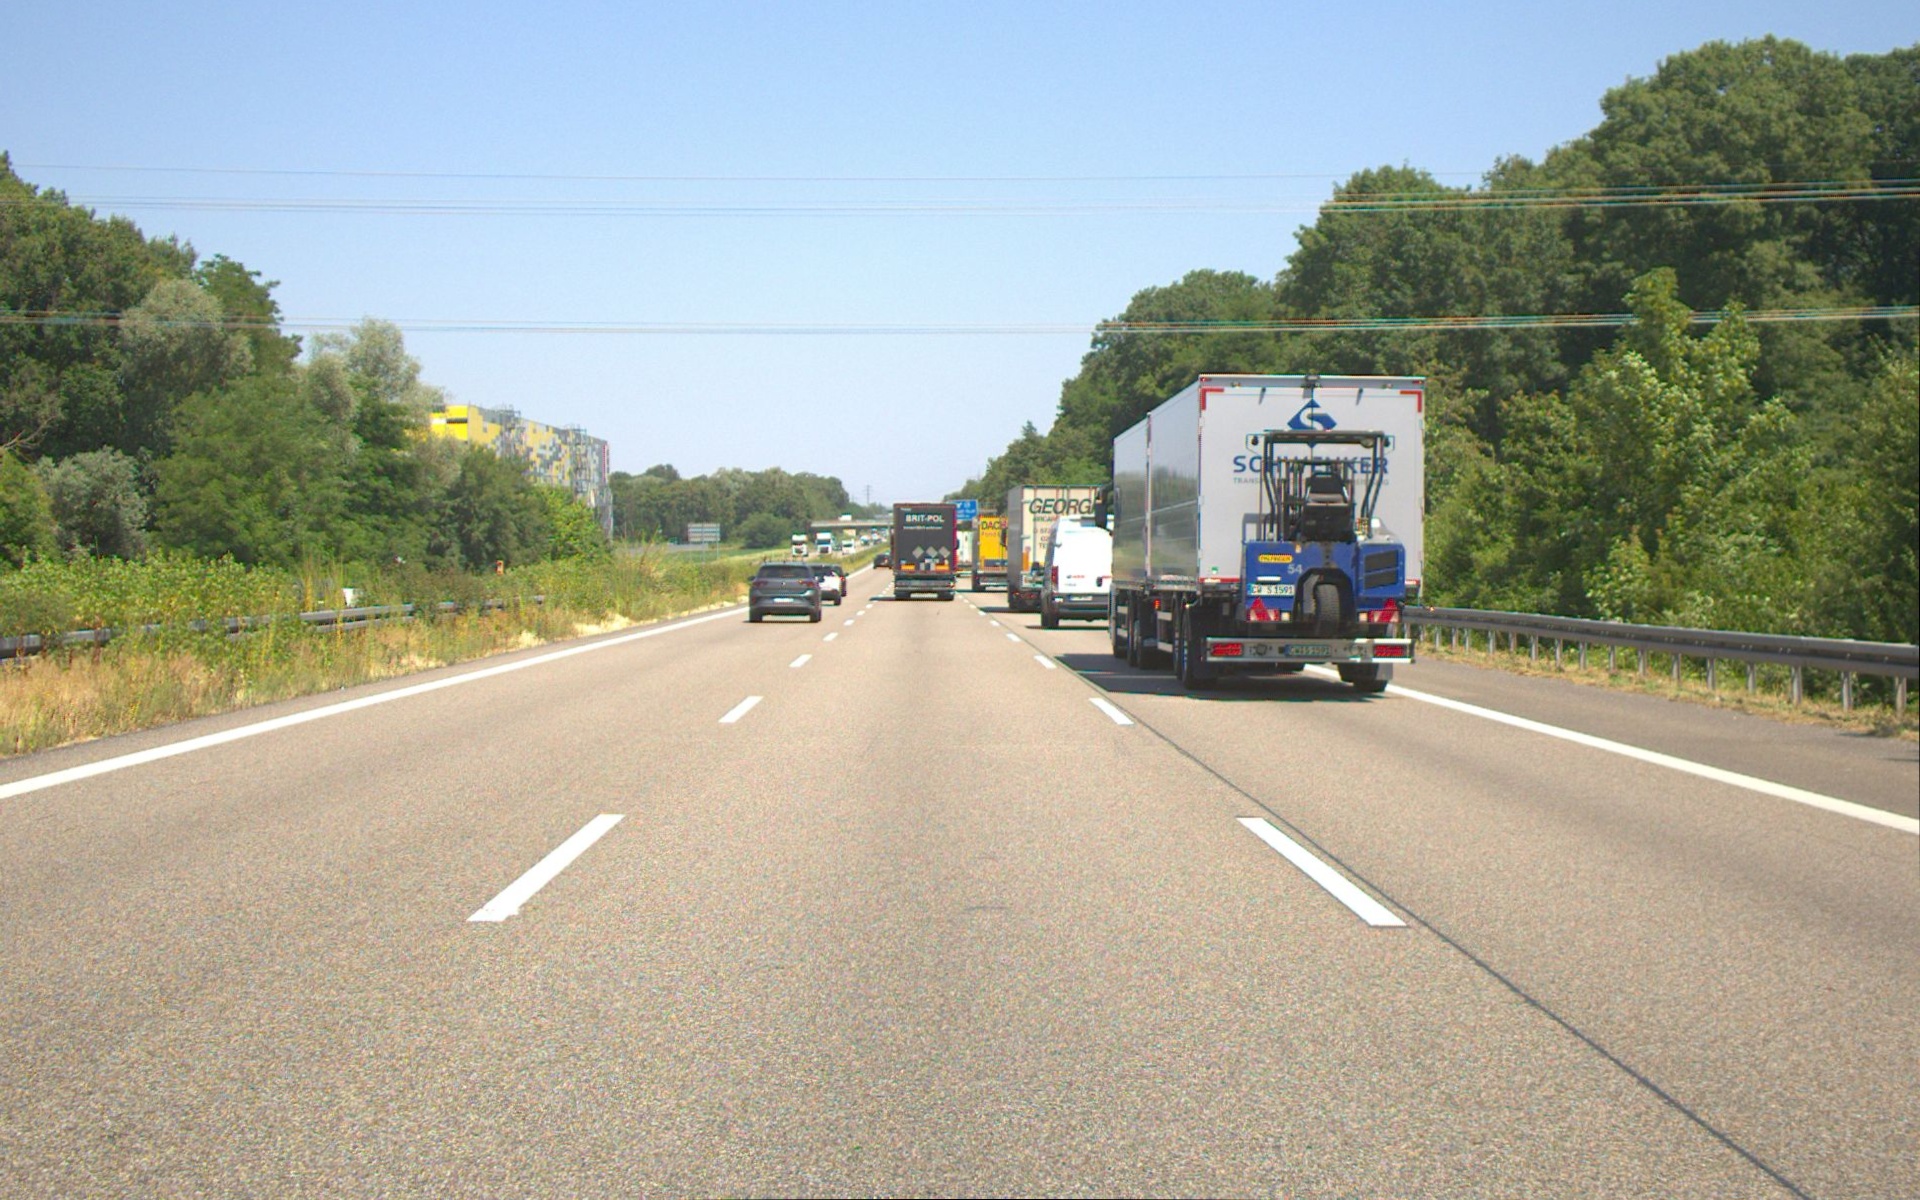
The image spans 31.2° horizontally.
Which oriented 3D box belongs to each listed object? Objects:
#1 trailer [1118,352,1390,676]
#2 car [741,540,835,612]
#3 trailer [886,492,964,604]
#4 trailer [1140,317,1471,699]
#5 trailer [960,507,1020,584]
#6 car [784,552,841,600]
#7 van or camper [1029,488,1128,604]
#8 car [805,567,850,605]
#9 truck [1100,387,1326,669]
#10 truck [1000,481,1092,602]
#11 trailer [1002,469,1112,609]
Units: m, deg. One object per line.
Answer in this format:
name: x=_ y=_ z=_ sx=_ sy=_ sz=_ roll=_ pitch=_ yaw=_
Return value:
trailer: x=3.860 y=-1.120 z=46.818 sx=2.920 sy=4.027 sz=7.317 roll=1 pitch=1 yaw=-1
car: x=-4.414 y=-0.660 z=89.031 sx=2.216 sy=1.784 sz=5.394 roll=-1 pitch=1 yaw=-1
trailer: x=-1.555 y=-2.209 z=146.344 sx=3.106 sy=4.491 sz=14.897 roll=1 pitch=1 yaw=-1
trailer: x=3.902 y=-1.024 z=40.799 sx=2.945 sy=4.049 sz=8.128 roll=1 pitch=1 yaw=-1
trailer: x=1.541 y=-2.932 z=182.043 sx=2.834 sy=3.940 sz=11.685 roll=0 pitch=1 yaw=-1
car: x=-5.389 y=-0.885 z=125.981 sx=1.993 sy=1.722 sz=4.131 roll=0 pitch=1 yaw=-1
van or camper: x=2.789 y=-1.287 z=82.330 sx=2.022 sy=2.628 sz=6.487 roll=1 pitch=1 yaw=-1
car: x=-6.074 y=-0.654 z=157.536 sx=1.941 sy=1.700 sz=4.000 roll=0 pitch=1 yaw=-1
truck: x=3.773 y=-1.066 z=52.821 sx=2.889 sy=4.016 sz=6.870 roll=1 pitch=1 yaw=0
truck: x=2.955 y=-2.027 z=120.018 sx=3.002 sy=4.110 sz=5.253 roll=0 pitch=1 yaw=-1
trailer: x=3.065 y=-1.971 z=112.493 sx=2.993 sy=4.274 sz=13.419 roll=1 pitch=1 yaw=-1
